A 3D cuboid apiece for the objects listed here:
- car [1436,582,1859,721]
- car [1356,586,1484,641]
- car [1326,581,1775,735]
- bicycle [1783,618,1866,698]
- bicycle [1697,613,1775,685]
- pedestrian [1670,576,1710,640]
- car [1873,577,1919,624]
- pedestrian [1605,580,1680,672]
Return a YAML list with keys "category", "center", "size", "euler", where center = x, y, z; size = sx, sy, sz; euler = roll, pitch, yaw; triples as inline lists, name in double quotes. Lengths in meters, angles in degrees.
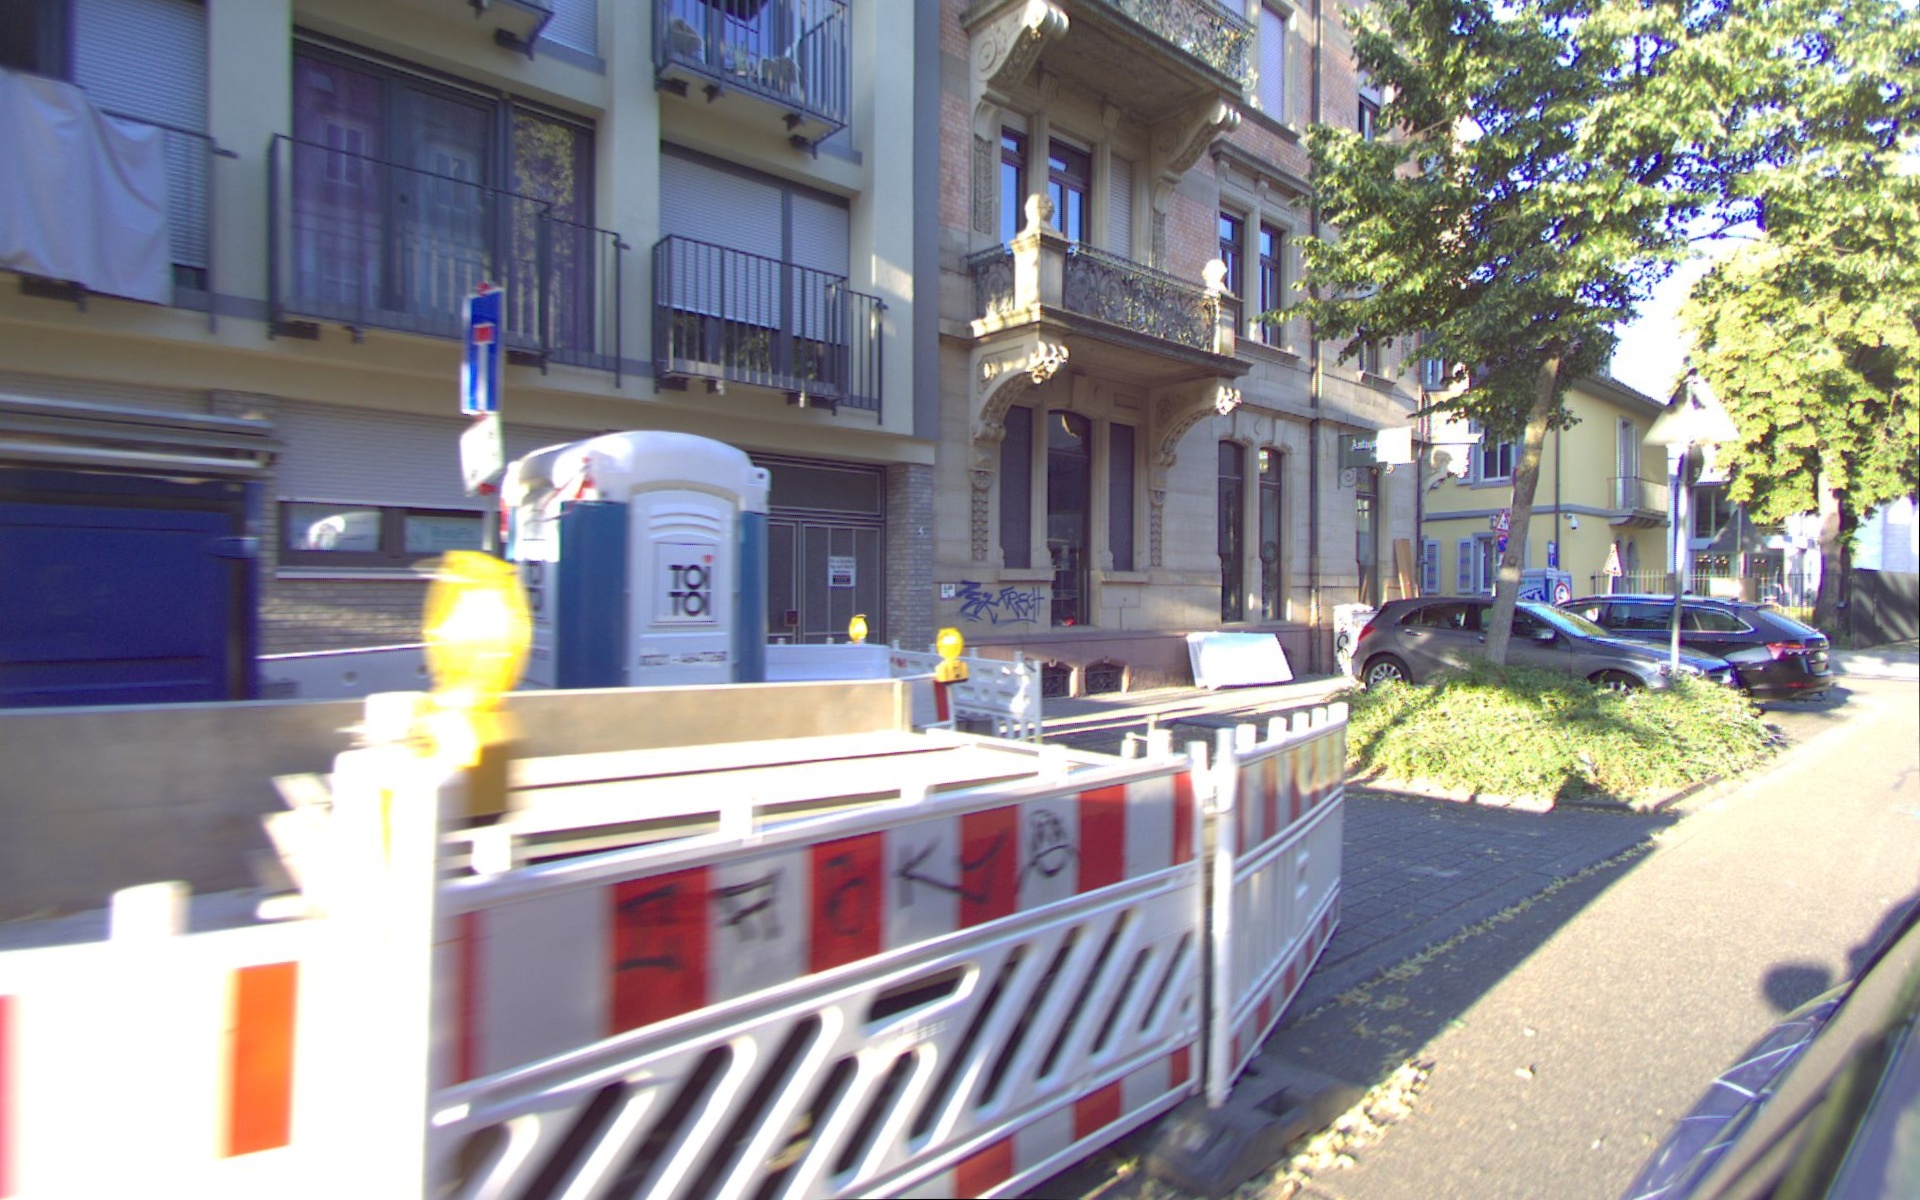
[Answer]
- category: "car"
  center: [9.336, 0.562, 14.087]
  size: [1.878, 1.530, 4.536]
  euler: [0, 2, -40]
- category: "car"
  center: [13.838, 0.370, 30.576]
  size: [1.514, 1.539, 3.225]
  euler: [2, 0, -30]
- category: "car"
  center: [7.187, 0.555, 12.781]
  size: [1.833, 1.497, 4.539]
  euler: [-1, 2, -38]
- category: "bicycle"
  center: [12.628, 0.810, 14.768]
  size: [1.799, 1.060, 0.571]
  euler: [0, 1, -38]
- category: "bicycle"
  center: [12.127, 0.736, 15.798]
  size: [1.801, 1.026, 0.638]
  euler: [0, 1, -42]
- category: "pedestrian"
  center: [18.671, 0.195, 25.884]
  size: [0.459, 1.615, 0.674]
  euler: [0, 1, -28]
- category: "car"
  center: [37.861, -0.019, 40.028]
  size: [3.987, 1.757, 1.710]
  euler: [-1, 3, -35]
- category: "pedestrian"
  center: [12.679, 0.467, 18.822]
  size: [0.944, 1.680, 0.638]
  euler: [0, 0, 8]
